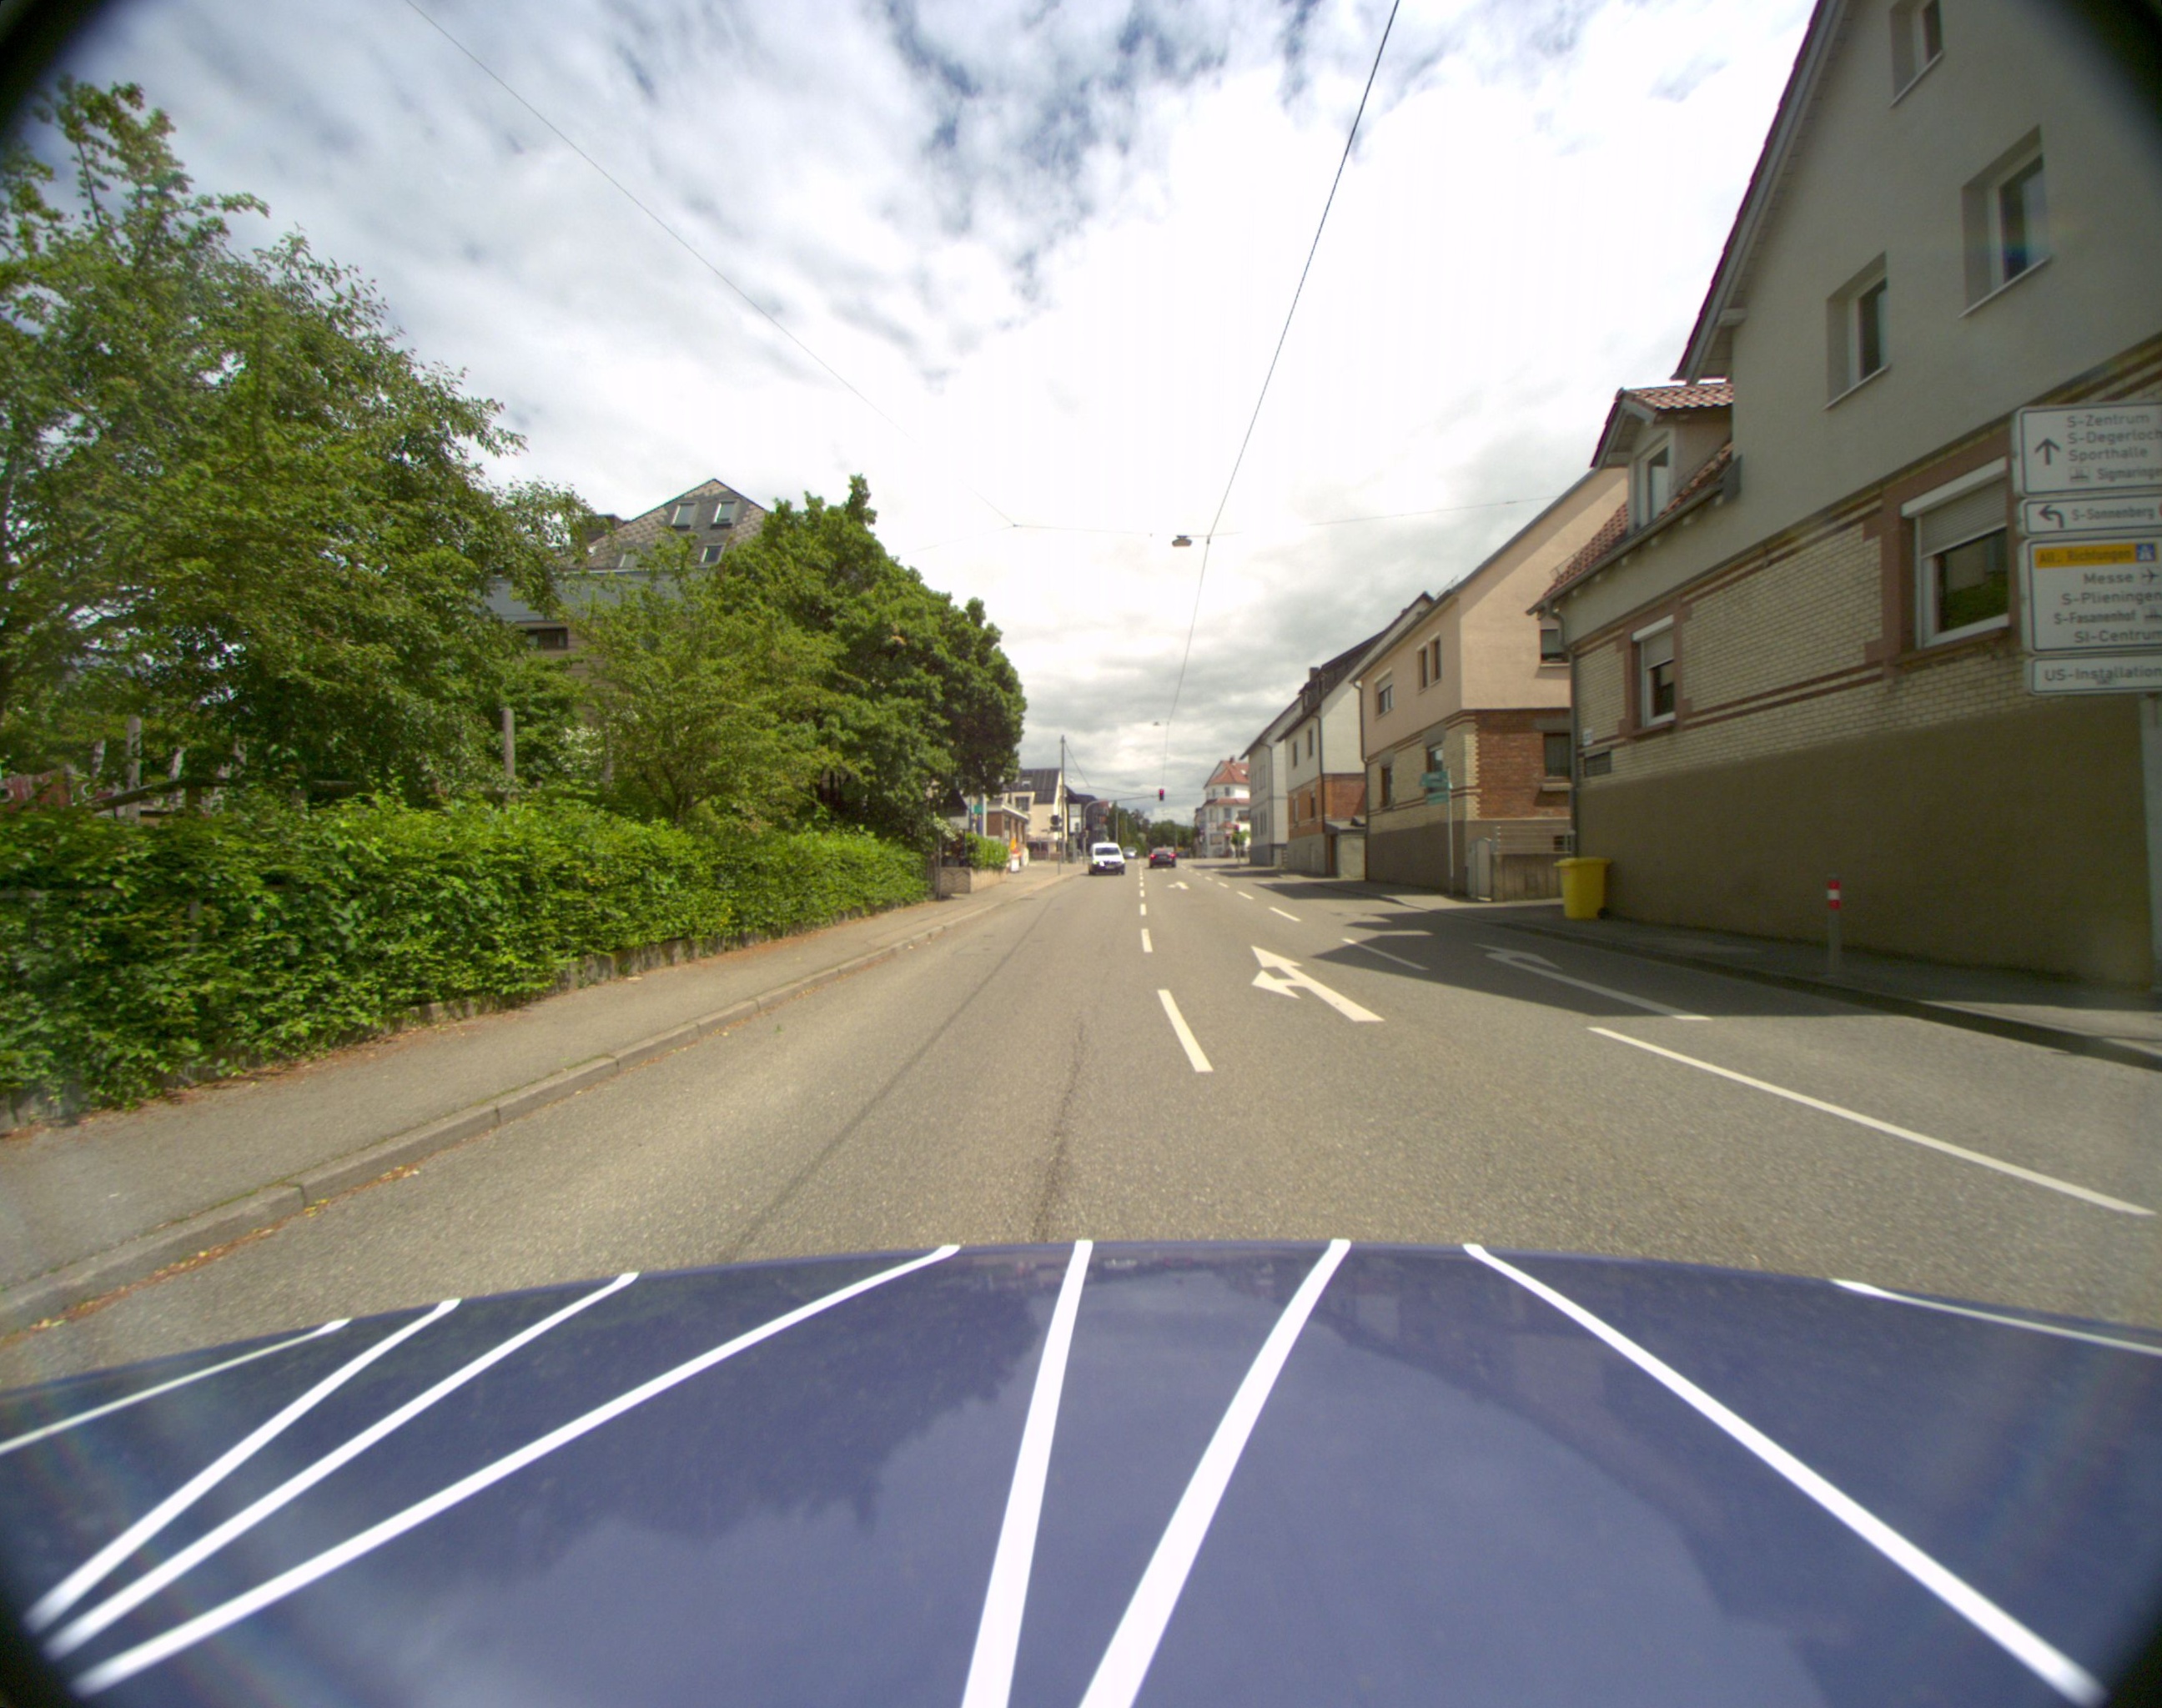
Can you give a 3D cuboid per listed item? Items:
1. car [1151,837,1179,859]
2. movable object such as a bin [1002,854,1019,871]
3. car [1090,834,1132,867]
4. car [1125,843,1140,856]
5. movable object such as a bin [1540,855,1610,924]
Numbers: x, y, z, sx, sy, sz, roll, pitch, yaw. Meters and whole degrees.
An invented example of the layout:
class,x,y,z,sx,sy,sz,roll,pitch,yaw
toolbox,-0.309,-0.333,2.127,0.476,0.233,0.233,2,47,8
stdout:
class,x,y,z,sx,sy,sz,roll,pitch,yaw
car,5.968,-0.418,54.364,1.794,1.477,4.001,-2,0,5
movable object such as a bin,-3.928,0.466,42.384,0.789,0.909,0.470,4,2,3
car,1.628,-0.222,42.486,1.894,1.718,4.291,-1,1,-3
car,6.400,-0.517,93.975,1.794,1.477,4.001,-2,0,5
movable object such as a bin,8.712,0.613,13.433,0.766,1.155,0.803,-1,1,10
